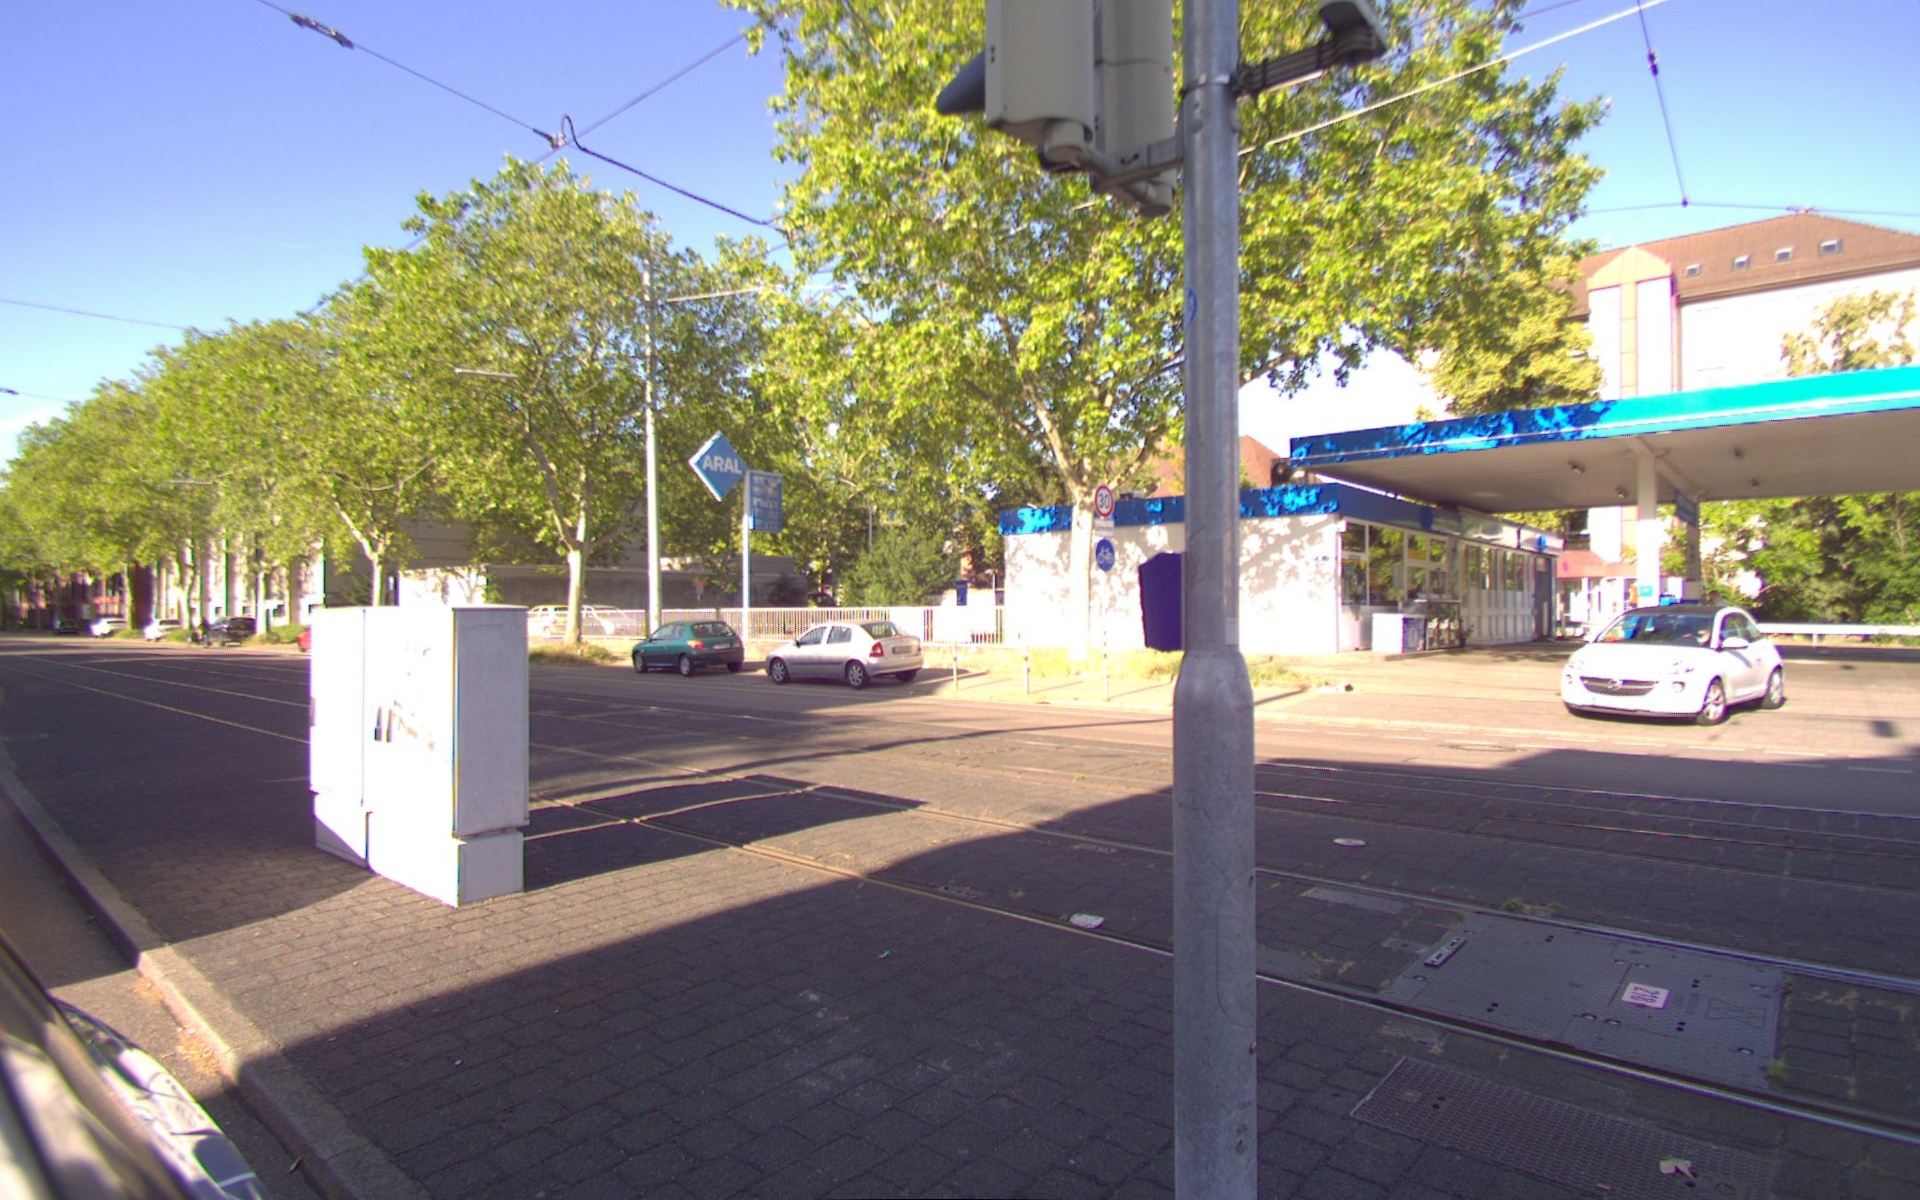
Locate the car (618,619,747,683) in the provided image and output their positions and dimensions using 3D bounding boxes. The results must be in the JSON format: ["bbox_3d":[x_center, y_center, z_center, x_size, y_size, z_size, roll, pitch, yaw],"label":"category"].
[{"bbox_3d":[-7.416,1.302,26.903,3.606,1.455,1.598,-1,2,43],"label":"car"}]

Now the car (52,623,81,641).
[{"bbox_3d":[-85.043,3.027,96.318,3.731,1.471,1.639,-1,2,43],"label":"car"}]

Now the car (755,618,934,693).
[{"bbox_3d":[-2.632,1.190,22.589,3.987,1.376,1.666,-2,3,41],"label":"car"}]

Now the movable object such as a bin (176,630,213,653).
[{"bbox_3d":[-40.214,2.158,53.169,1.833,1.111,1.163,-1,0,39],"label":"movable object such as a bin"}]

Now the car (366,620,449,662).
[{"bbox_3d":[-21.753,1.571,39.809,3.769,1.455,1.701,-1,2,43],"label":"car"}]

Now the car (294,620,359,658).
[{"bbox_3d":[-28.815,1.747,45.997,3.377,1.506,1.639,-1,2,43],"label":"car"}]

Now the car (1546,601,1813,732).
[{"bbox_3d":[9.858,0.785,13.792,3.870,1.446,1.748,-2,1,-35],"label":"car"}]

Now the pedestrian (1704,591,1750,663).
[{"bbox_3d":[18.655,0.665,24.630,0.847,1.715,0.640,-1,-3,40],"label":"pedestrian"}]

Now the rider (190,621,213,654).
[{"bbox_3d":[-39.201,1.913,52.315,1.105,1.660,0.716,-1,0,39],"label":"rider"}]

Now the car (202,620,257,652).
[{"bbox_3d":[-40.766,1.996,56.441,3.878,1.603,1.731,-1,2,43],"label":"car"}]

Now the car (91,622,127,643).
[{"bbox_3d":[-66.794,2.513,79.400,3.731,1.471,1.639,-1,2,43],"label":"car"}]

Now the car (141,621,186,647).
[{"bbox_3d":[-53.706,2.296,68.234,3.878,1.552,1.731,-1,2,43],"label":"car"}]
